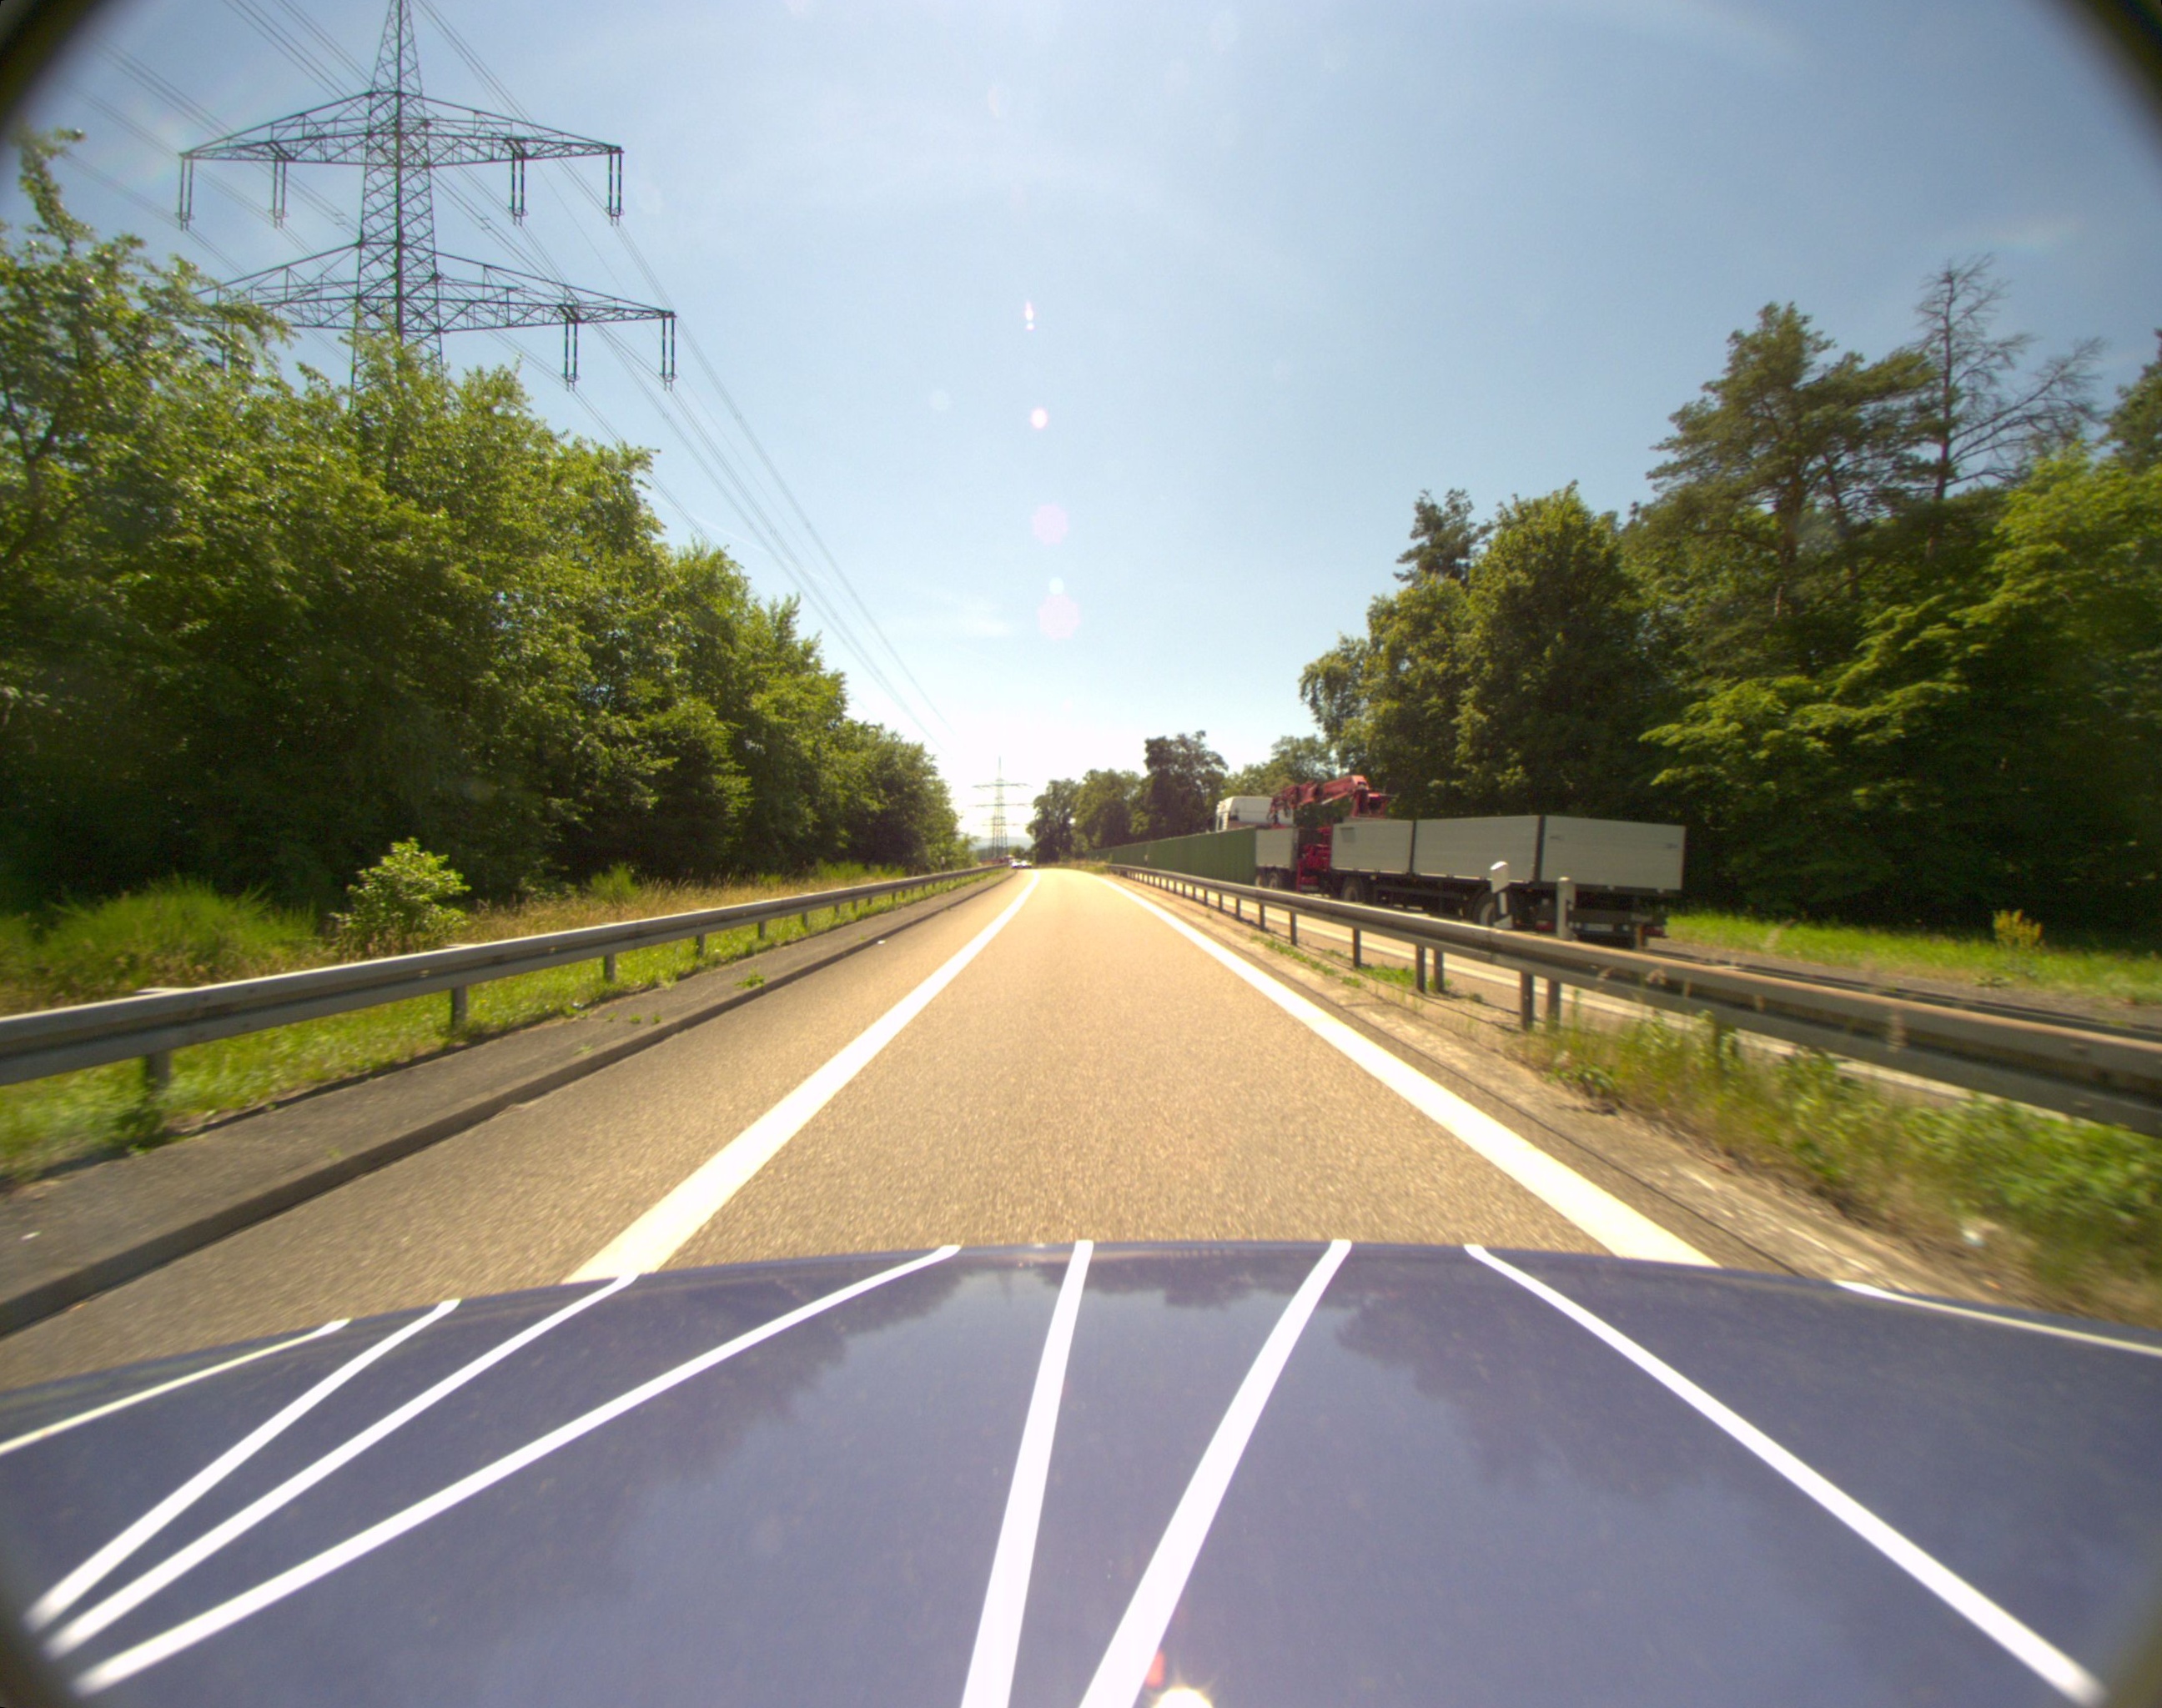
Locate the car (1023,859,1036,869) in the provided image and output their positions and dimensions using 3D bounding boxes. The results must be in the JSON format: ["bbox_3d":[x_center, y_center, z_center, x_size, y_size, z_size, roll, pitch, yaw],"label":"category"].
[{"bbox_3d":[-9.121,1.702,133.947,2.000,1.674,3.997,-1,0,-9],"label":"car"}]

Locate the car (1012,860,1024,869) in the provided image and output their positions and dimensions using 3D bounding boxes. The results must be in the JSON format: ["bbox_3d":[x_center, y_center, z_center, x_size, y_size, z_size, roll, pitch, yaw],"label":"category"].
[{"bbox_3d":[-12.379,2.000,149.513,2.000,1.674,3.997,-1,0,-9],"label":"car"}]
